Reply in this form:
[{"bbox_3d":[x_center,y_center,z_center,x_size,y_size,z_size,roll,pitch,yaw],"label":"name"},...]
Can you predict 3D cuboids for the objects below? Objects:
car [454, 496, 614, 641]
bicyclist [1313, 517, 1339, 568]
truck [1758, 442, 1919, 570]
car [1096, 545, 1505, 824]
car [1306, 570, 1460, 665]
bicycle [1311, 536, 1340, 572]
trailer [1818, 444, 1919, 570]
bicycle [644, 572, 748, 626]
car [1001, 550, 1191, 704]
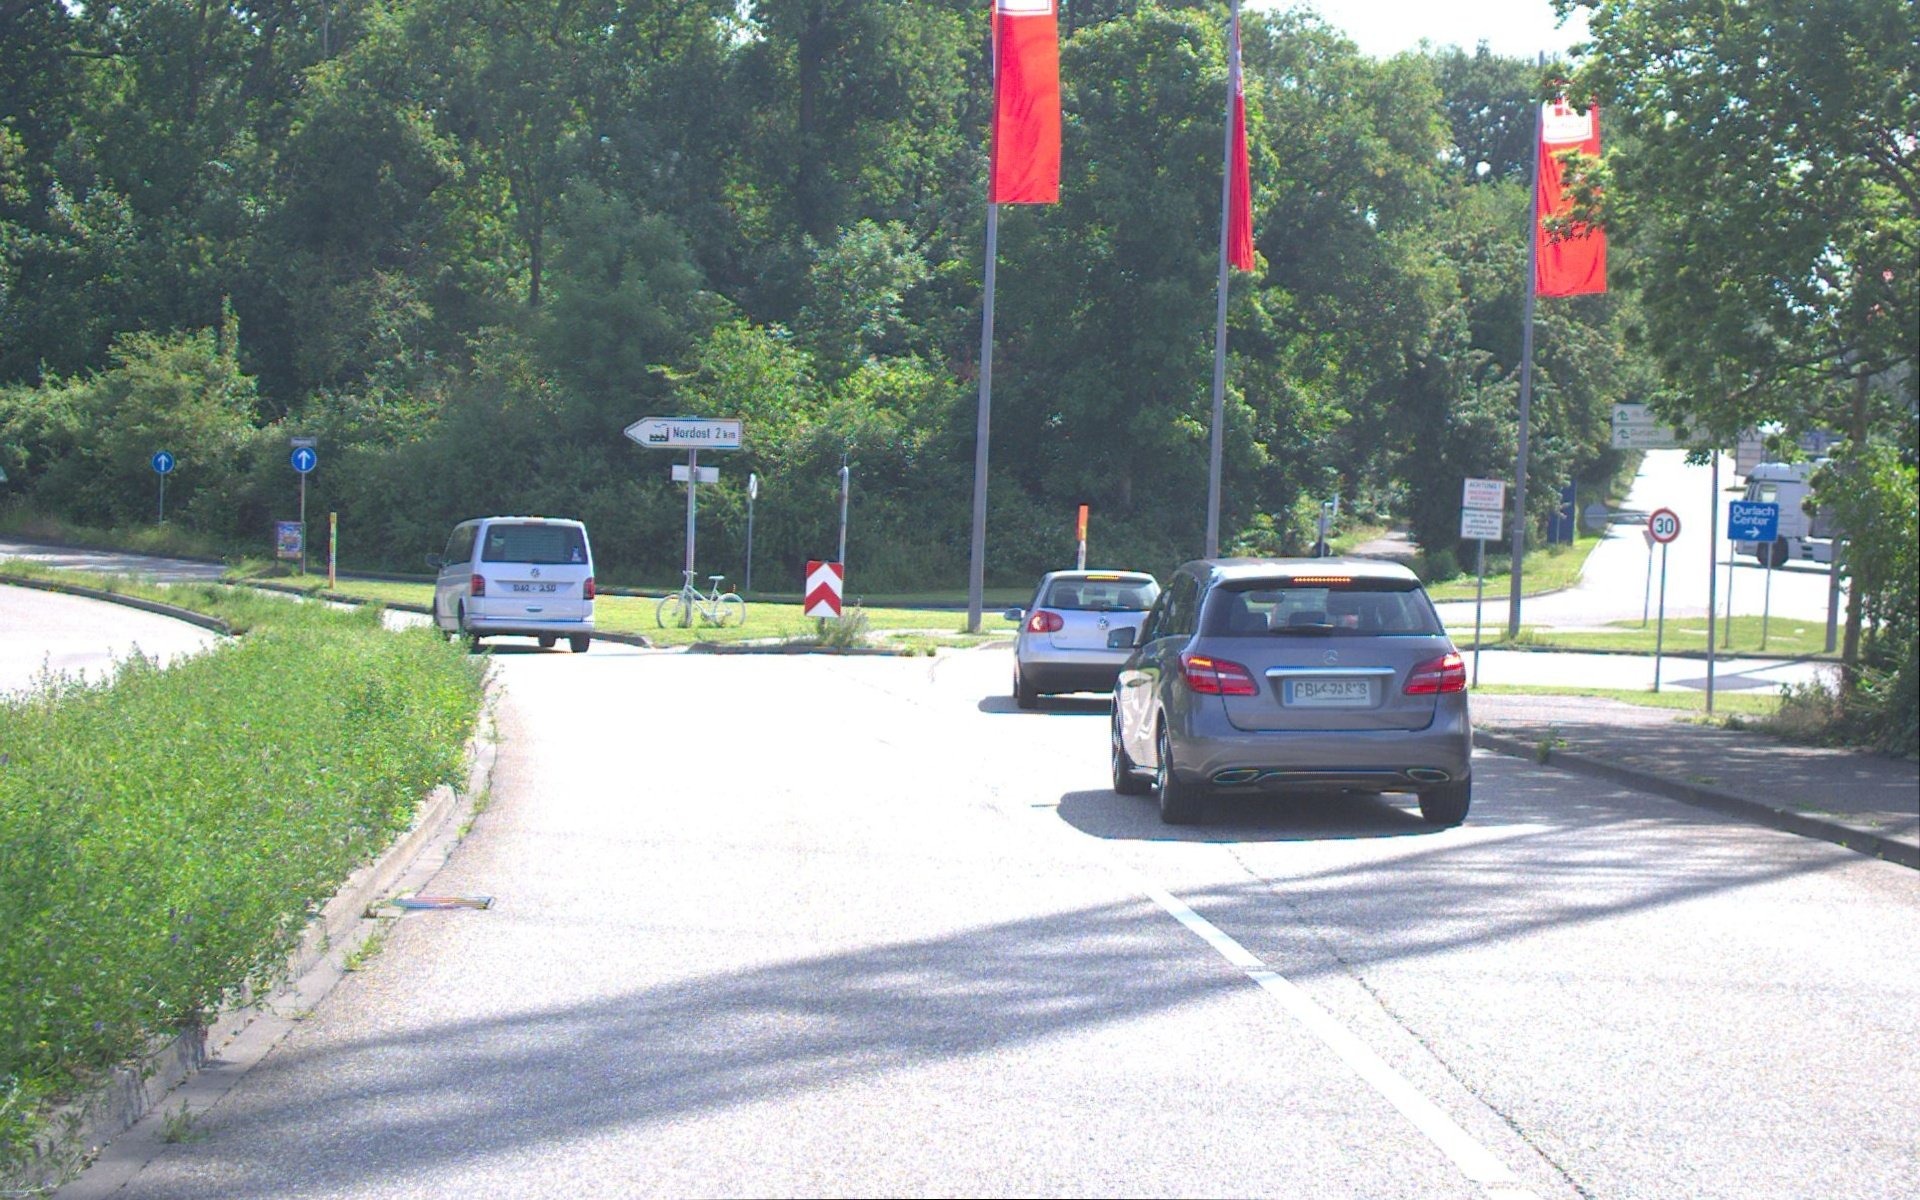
[{"bbox_3d":[-6.236,-0.484,50.731,2.039,2.007,4.001,1,1,-3],"label":"car"},{"bbox_3d":[11.510,-1.821,108.102,0.675,1.528,0.846,3,4,10],"label":"bicyclist"},{"bbox_3d":[33.241,-3.510,127.095,6.553,4.400,3.753,4,4,23],"label":"truck"},{"bbox_3d":[1.956,0.455,20.950,1.856,1.524,4.144,0,0,-3],"label":"car"},{"bbox_3d":[7.051,0.260,57.025,1.775,1.327,3.737,4,3,18],"label":"car"},{"bbox_3d":[11.495,-1.452,108.105,0.724,0.974,2.186,3,5,10],"label":"bicycle"},{"bbox_3d":[38.080,-3.211,125.061,12.690,4.400,3.753,4,4,23],"label":"trailer"},{"bbox_3d":[-4.464,-0.013,58.131,1.783,0.886,0.271,0,2,-28],"label":"bicycle"},{"bbox_3d":[1.413,0.251,37.212,1.856,1.524,4.144,2,1,0],"label":"car"}]
